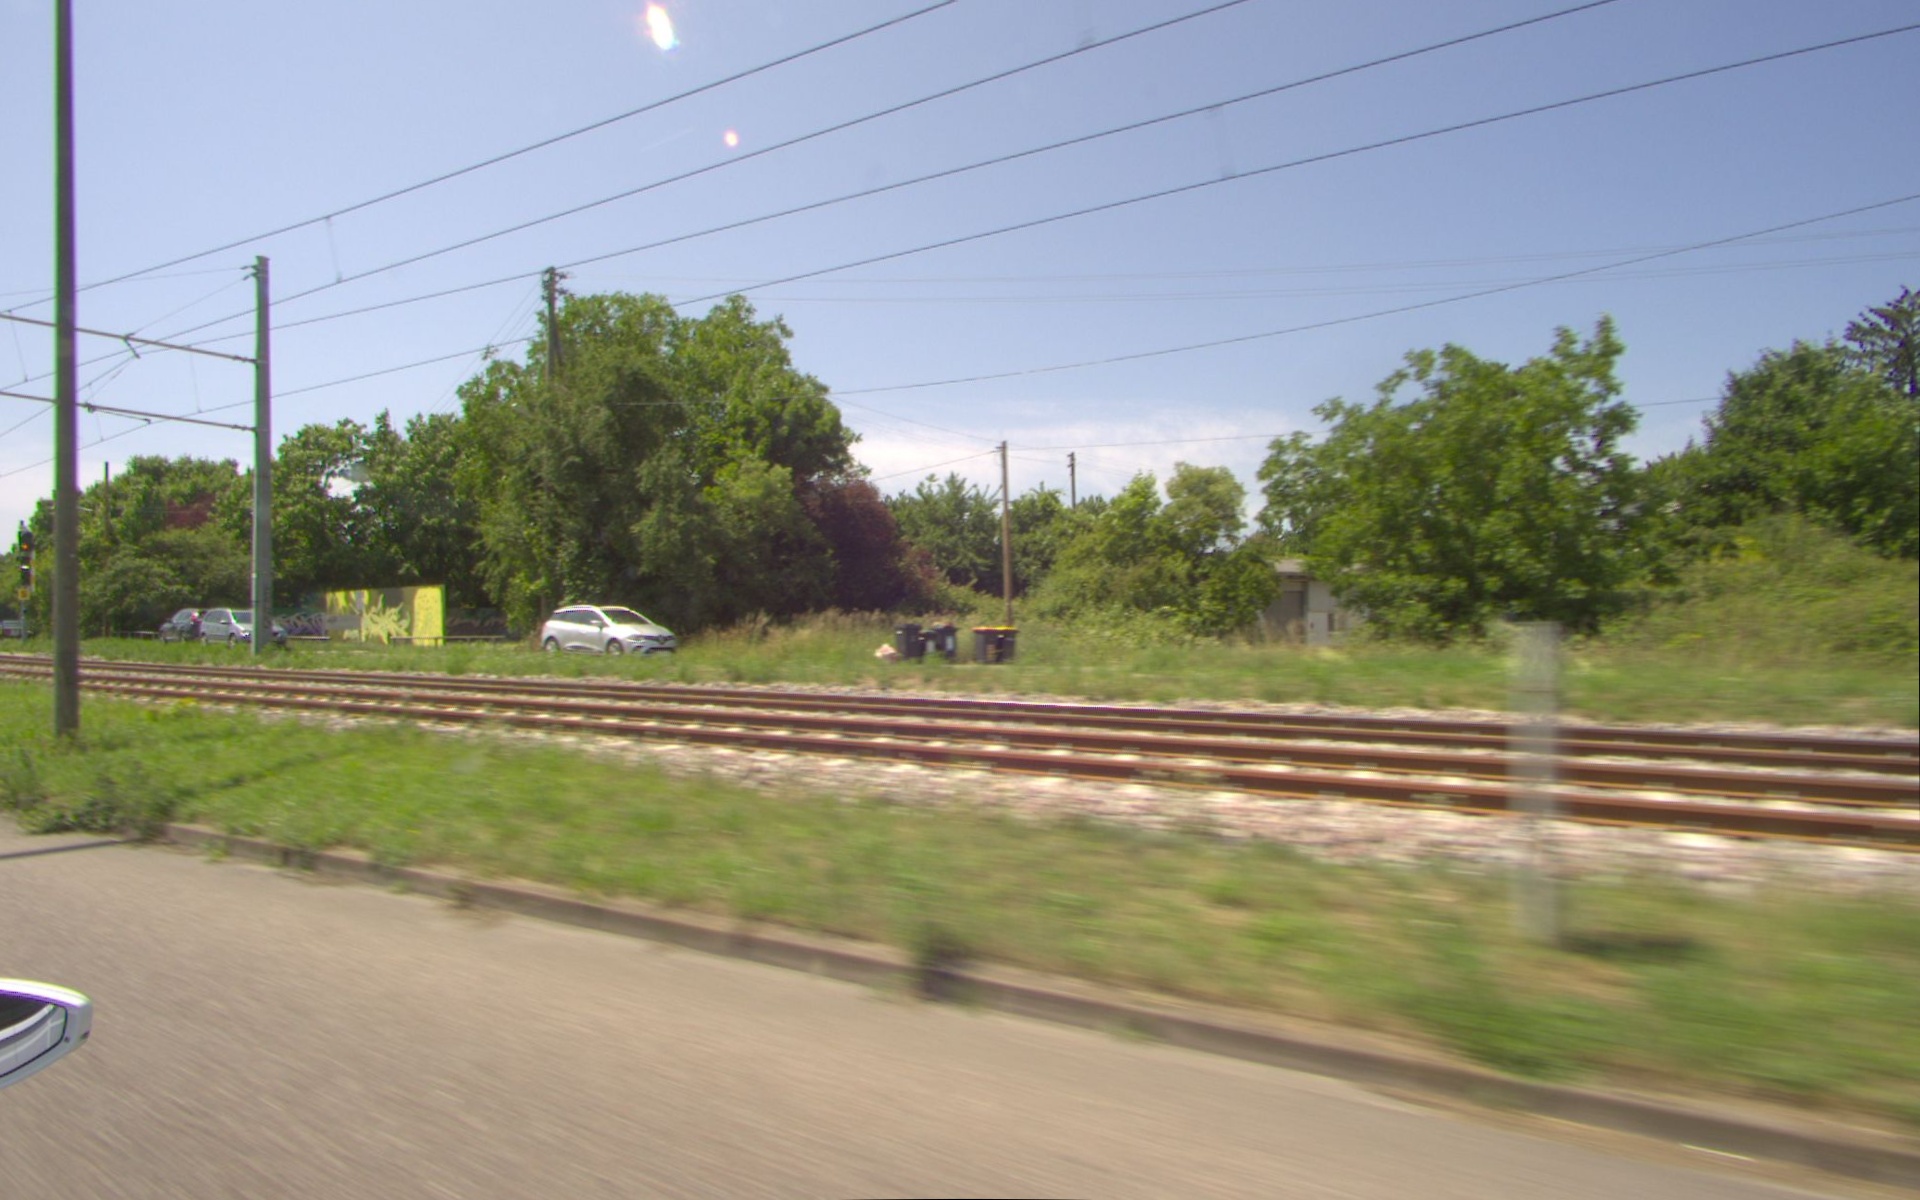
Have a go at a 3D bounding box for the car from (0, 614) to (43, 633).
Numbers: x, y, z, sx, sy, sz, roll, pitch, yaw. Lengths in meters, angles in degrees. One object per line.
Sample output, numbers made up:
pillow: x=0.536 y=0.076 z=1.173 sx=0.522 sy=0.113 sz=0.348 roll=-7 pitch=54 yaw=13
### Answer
car: x=-64.506 y=1.627 z=68.662 sx=3.619 sy=1.185 sz=1.640 roll=-2 pitch=-2 yaw=34

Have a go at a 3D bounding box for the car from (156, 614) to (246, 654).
car: x=-33.068 y=1.502 z=43.570 sx=4.753 sy=1.678 sz=1.822 roll=-2 pitch=-2 yaw=36

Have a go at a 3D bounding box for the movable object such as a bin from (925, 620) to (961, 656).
movable object such as a bin: x=-0.461 y=1.030 z=27.053 sx=0.579 sy=0.947 sz=0.822 roll=0 pitch=-1 yaw=-36

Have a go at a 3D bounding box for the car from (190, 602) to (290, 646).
car: x=-28.553 y=0.973 z=39.667 sx=4.646 sy=1.645 sz=1.673 roll=-2 pitch=-2 yaw=33

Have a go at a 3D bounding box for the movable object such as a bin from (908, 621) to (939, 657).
movable object such as a bin: x=-0.979 y=1.038 z=26.711 sx=0.443 sy=0.947 sz=0.797 roll=0 pitch=-1 yaw=-36

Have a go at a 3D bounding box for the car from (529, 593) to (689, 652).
car: x=-9.417 y=0.635 z=26.732 sx=4.488 sy=1.432 sz=1.676 roll=-2 pitch=-2 yaw=34

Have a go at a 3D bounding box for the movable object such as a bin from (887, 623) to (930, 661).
movable object such as a bin: x=-1.329 y=1.076 z=25.813 sx=0.793 sy=0.947 sz=0.775 roll=0 pitch=-1 yaw=-36
